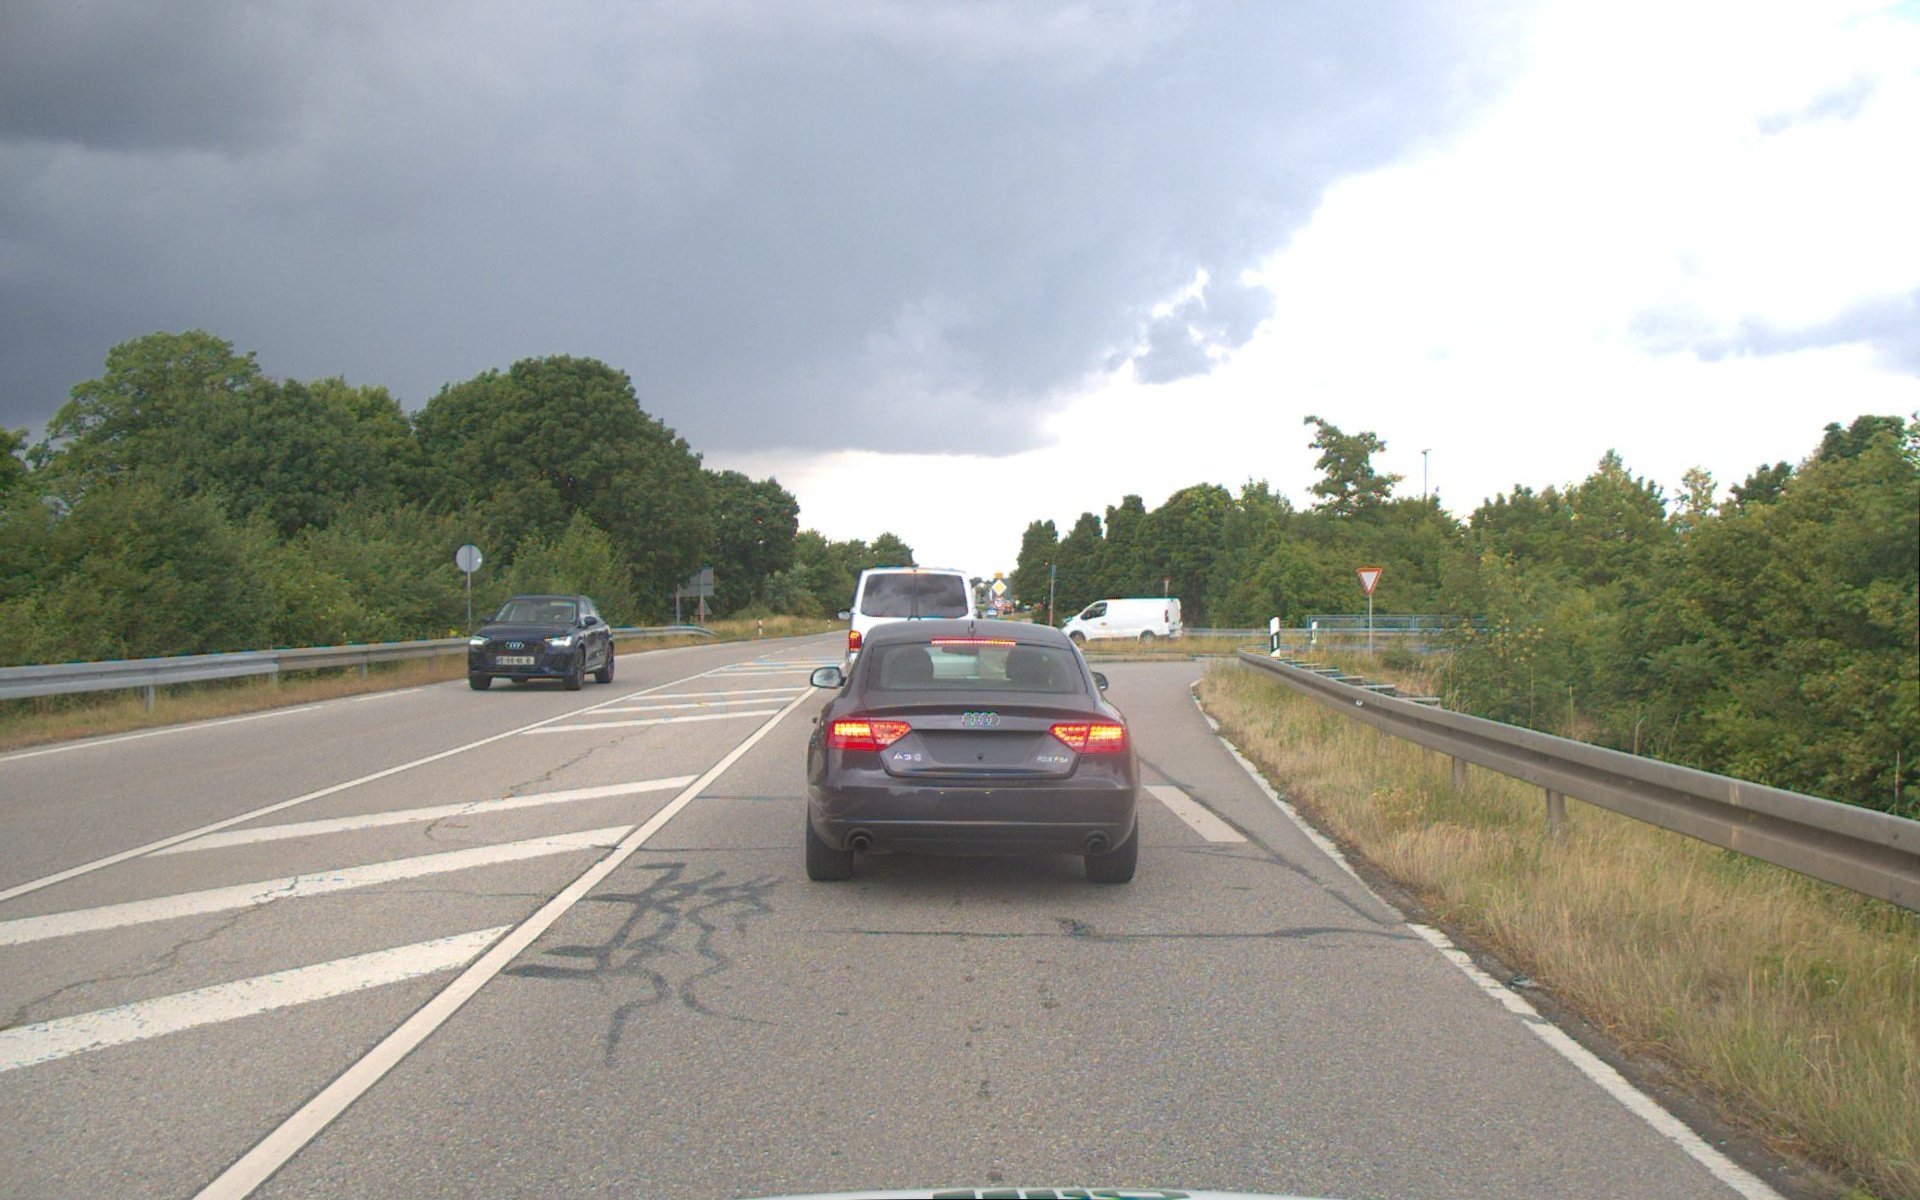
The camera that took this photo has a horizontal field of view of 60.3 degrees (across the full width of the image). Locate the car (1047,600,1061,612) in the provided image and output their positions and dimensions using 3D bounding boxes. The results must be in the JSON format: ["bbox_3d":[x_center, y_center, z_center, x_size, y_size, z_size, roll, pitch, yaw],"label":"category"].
[{"bbox_3d":[13.493,0.887,237.294,1.836,1.722,4.002,1,0,4],"label":"car"}]

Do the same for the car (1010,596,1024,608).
[{"bbox_3d":[8.377,0.267,244.335,1.952,1.722,4.000,1,0,1],"label":"car"}]

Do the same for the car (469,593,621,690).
[{"bbox_3d":[-7.149,0.668,28.881,1.675,1.545,4.208,1,0,-2],"label":"car"}]

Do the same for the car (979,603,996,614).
[{"bbox_3d":[3.998,1.235,241.109,2.161,1.610,4.377,1,0,-2],"label":"car"}]

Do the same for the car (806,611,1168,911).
[{"bbox_3d":[0.067,0.788,9.645,1.744,1.423,3.335,0,0,-2],"label":"car"}]

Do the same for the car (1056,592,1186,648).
[{"bbox_3d":[6.482,0.785,66.662,4.765,2.101,2.086,1,0,26],"label":"car"}]

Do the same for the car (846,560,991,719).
[{"bbox_3d":[-0.616,0.509,23.640,1.872,2.049,3.998,1,0,-2],"label":"car"}]
